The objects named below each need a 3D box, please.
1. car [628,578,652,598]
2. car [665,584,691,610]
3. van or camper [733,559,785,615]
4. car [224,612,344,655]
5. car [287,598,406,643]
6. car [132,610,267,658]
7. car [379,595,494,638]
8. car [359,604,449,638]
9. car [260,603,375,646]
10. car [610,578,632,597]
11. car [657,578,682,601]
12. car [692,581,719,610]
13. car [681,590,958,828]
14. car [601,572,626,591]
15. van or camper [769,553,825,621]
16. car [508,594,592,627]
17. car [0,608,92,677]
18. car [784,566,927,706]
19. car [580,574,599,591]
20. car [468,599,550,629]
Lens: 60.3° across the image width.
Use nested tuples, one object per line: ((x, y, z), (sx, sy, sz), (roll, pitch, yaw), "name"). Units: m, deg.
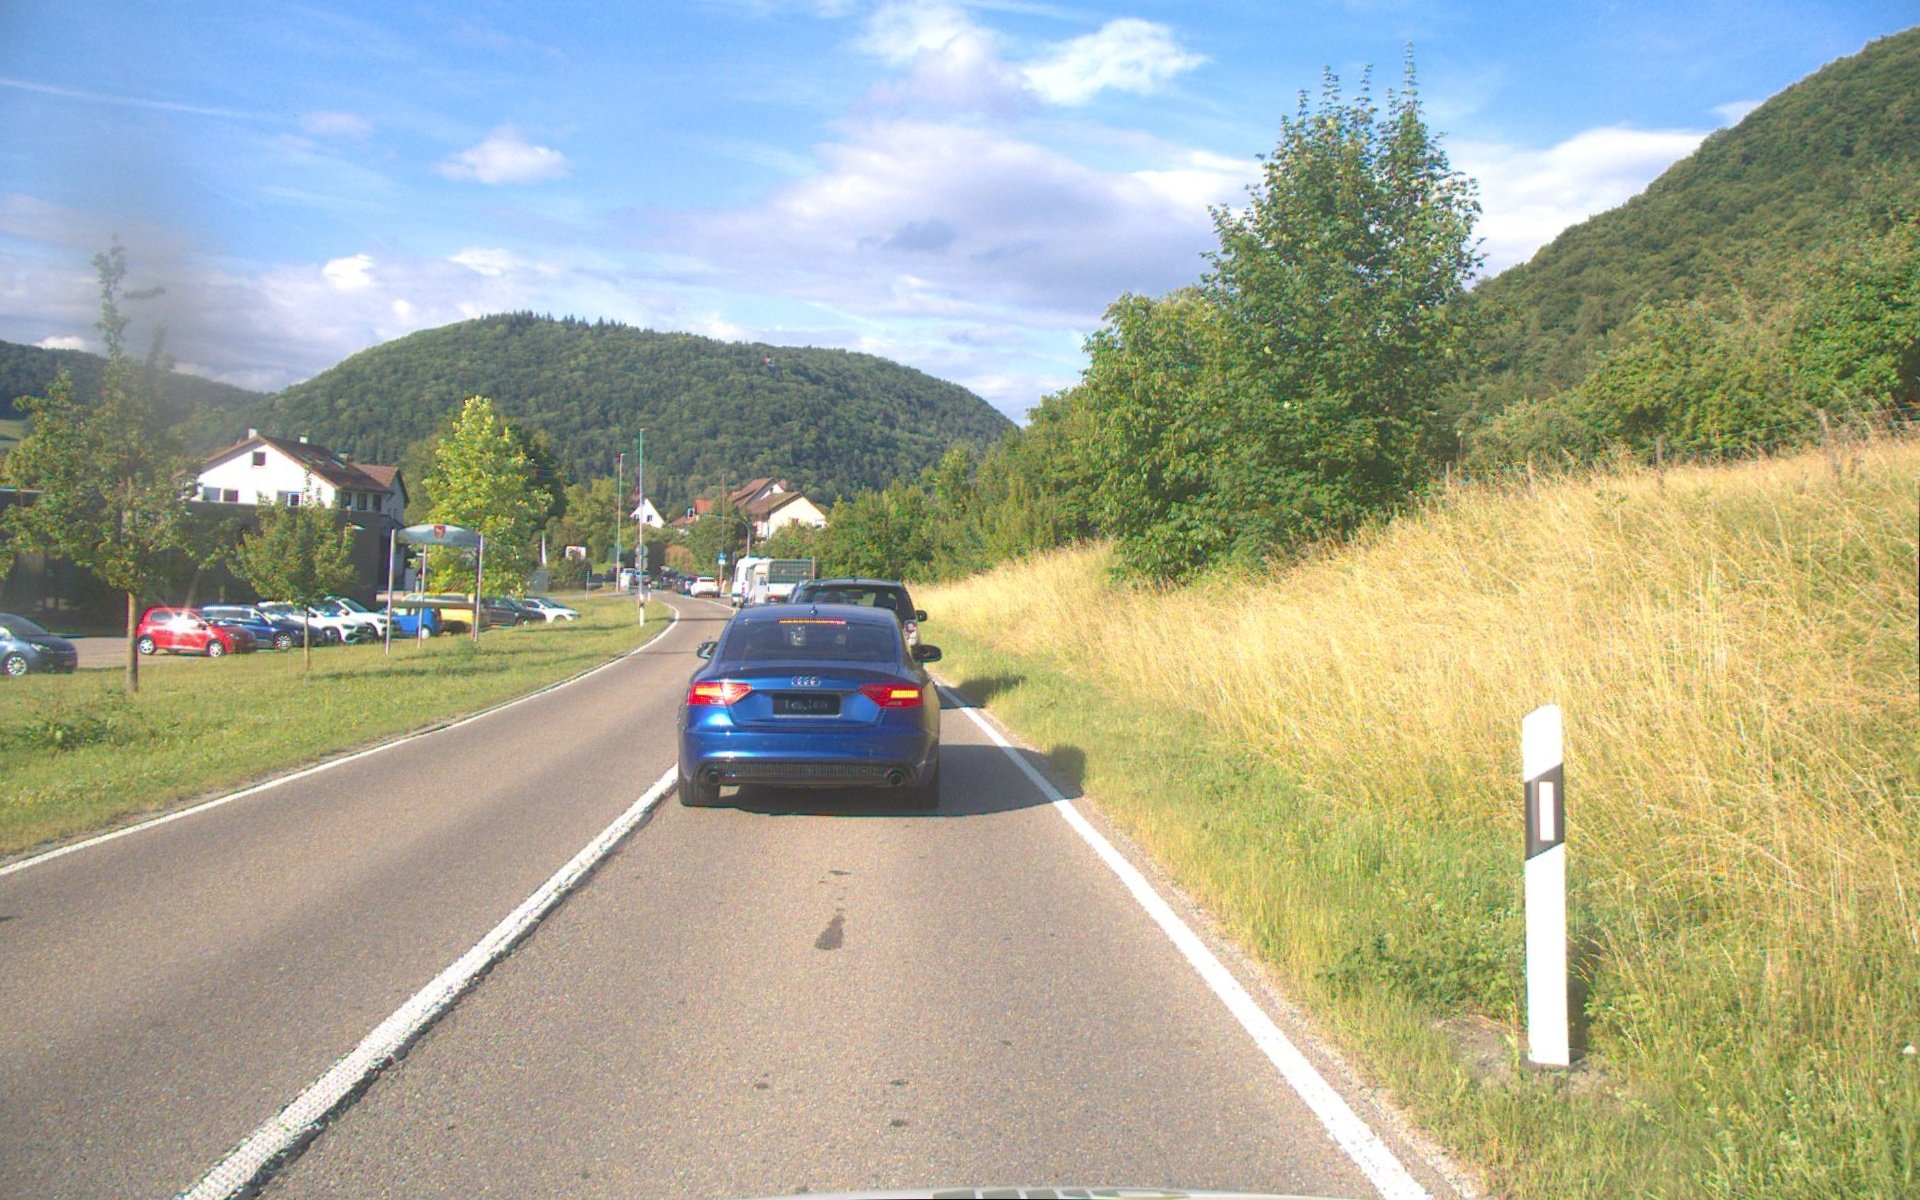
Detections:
((-31.173, -1.152, 161.287), (1.653, 1.958, 3.975), (0, 0, -21), "car")
((-21.693, -0.242, 127.280), (1.632, 1.958, 3.985), (0, 0, -14), "car")
((-10.309, -0.671, 84.561), (2.240, 2.761, 5.752), (0, 0, -11), "van or camper")
((-23.650, 1.162, 57.932), (3.548, 1.429, 1.598), (0, 0, 5), "car")
((-23.902, 0.790, 64.493), (3.991, 1.702, 1.598), (0, 2, 5), "car")
((-24.323, 1.075, 52.963), (3.548, 1.469, 1.649), (0, 0, 5), "car")
((-23.145, 0.712, 73.147), (4.457, 1.846, 1.842), (0, 0, 5), "car")
((-23.699, 0.888, 70.604), (3.302, 1.397, 1.659), (-1, 0, -3), "car")
((-23.776, 0.906, 61.274), (3.589, 1.520, 1.598), (0, 1, 5), "car")
((-34.779, -1.257, 169.620), (1.653, 1.958, 3.975), (0, 0, -21), "car")
((-25.762, -0.920, 146.624), (1.651, 1.958, 3.978), (0, 0, -19), "car")
((-18.131, -0.317, 117.754), (1.631, 1.958, 3.987), (0, 0, -13), "car")
((-0.982, 0.672, 12.062), (1.708, 1.476, 3.514), (1, 0, -4), "car")
((-37.136, -2.005, 177.407), (1.928, 1.958, 3.973), (0, 0, -22), "car")
((-6.494, -0.489, 65.226), (2.013, 2.549, 5.801), (0, 0, -7), "van or camper")
((-21.724, 0.561, 87.682), (3.950, 1.689, 1.657), (0, 0, 5), "car")
((-24.827, 1.079, 42.899), (3.738, 1.752, 1.733), (0, 0, 4), "car")
((-1.449, 0.431, 21.829), (1.614, 1.653, 3.511), (2, 0, -7), "car")
((-43.494, -2.054, 194.224), (1.652, 1.958, 3.977), (-1, 0, -20), "car")
((-22.680, 0.720, 83.247), (3.634, 1.464, 1.510), (0, 0, 5), "car")
